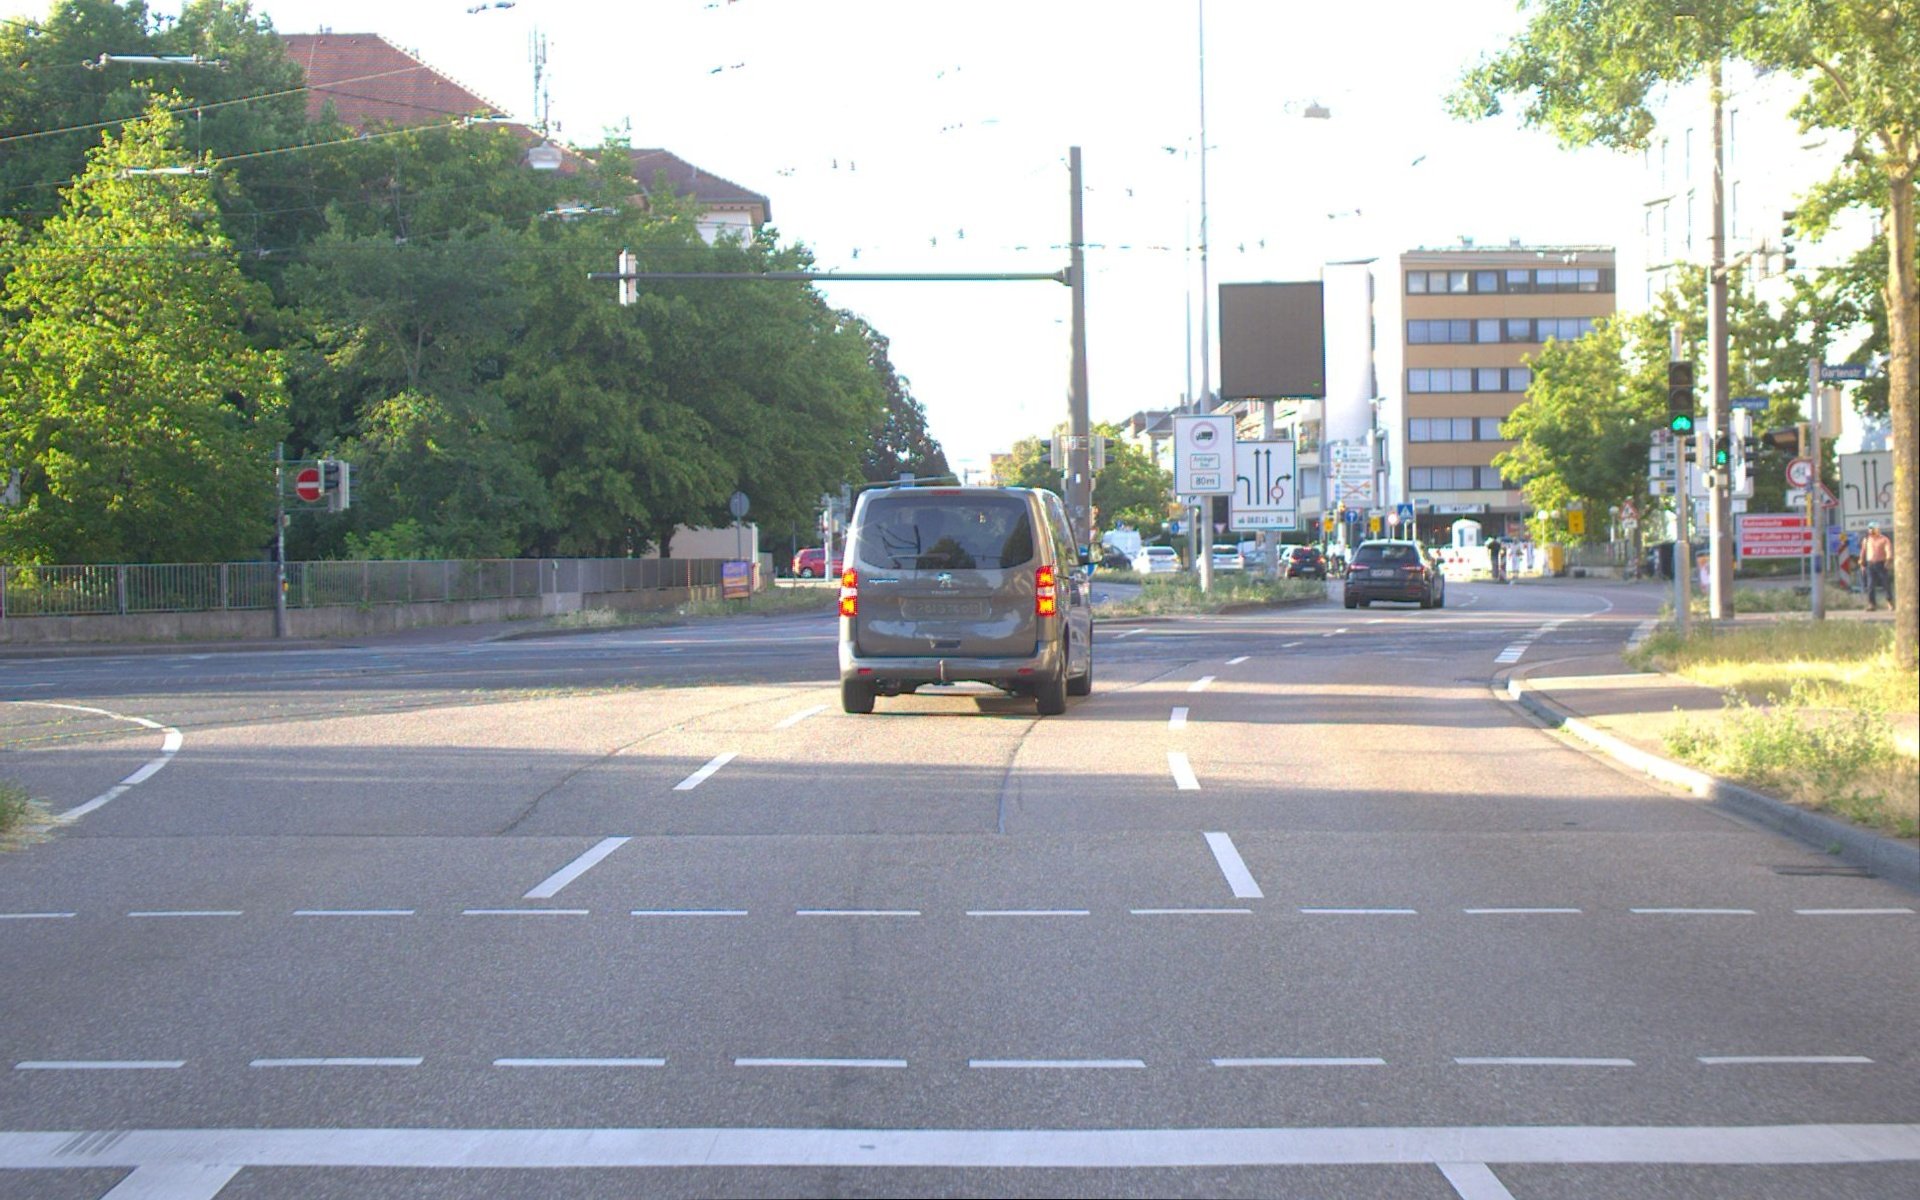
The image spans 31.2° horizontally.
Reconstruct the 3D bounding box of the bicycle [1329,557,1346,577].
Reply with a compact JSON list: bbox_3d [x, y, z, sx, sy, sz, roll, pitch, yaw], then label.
[{"bbox_3d":[16.797,-1.476,153.040,0.533,0.844,1.683,-1,1,0],"label":"bicycle"}]

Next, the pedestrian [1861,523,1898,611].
[{"bbox_3d":[17.071,-0.618,63.837,0.552,1.623,0.699,-1,1,8],"label":"pedestrian"}]

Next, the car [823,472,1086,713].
[{"bbox_3d":[0.034,-0.089,29.687,1.994,1.894,4.299,1,1,3],"label":"car"}]

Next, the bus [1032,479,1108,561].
[{"bbox_3d":[6.275,-4.548,197.834,3.289,4.601,10.002,1,1,-4],"label":"bus"}]

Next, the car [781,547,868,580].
[{"bbox_3d":[-6.886,-1.864,174.494,3.986,1.590,2.001,-1,1,-19],"label":"car"}]

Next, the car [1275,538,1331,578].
[{"bbox_3d":[14.733,-1.821,147.770,1.993,1.651,4.299,-1,1,0],"label":"car"}]

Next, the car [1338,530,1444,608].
[{"bbox_3d":[8.917,-0.657,70.907,1.846,1.539,3.629,0,1,12],"label":"car"}]

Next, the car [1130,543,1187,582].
[{"bbox_3d":[8.753,-1.657,152.138,1.993,1.651,4.300,-1,1,-4],"label":"car"}]

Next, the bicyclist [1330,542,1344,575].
[{"bbox_3d":[16.785,-1.856,153.128,0.541,1.454,0.641,-1,1,0],"label":"bicyclist"}]

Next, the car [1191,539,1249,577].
[{"bbox_3d":[11.548,-1.857,153.031,1.993,1.651,4.300,-1,1,-4],"label":"car"}]
